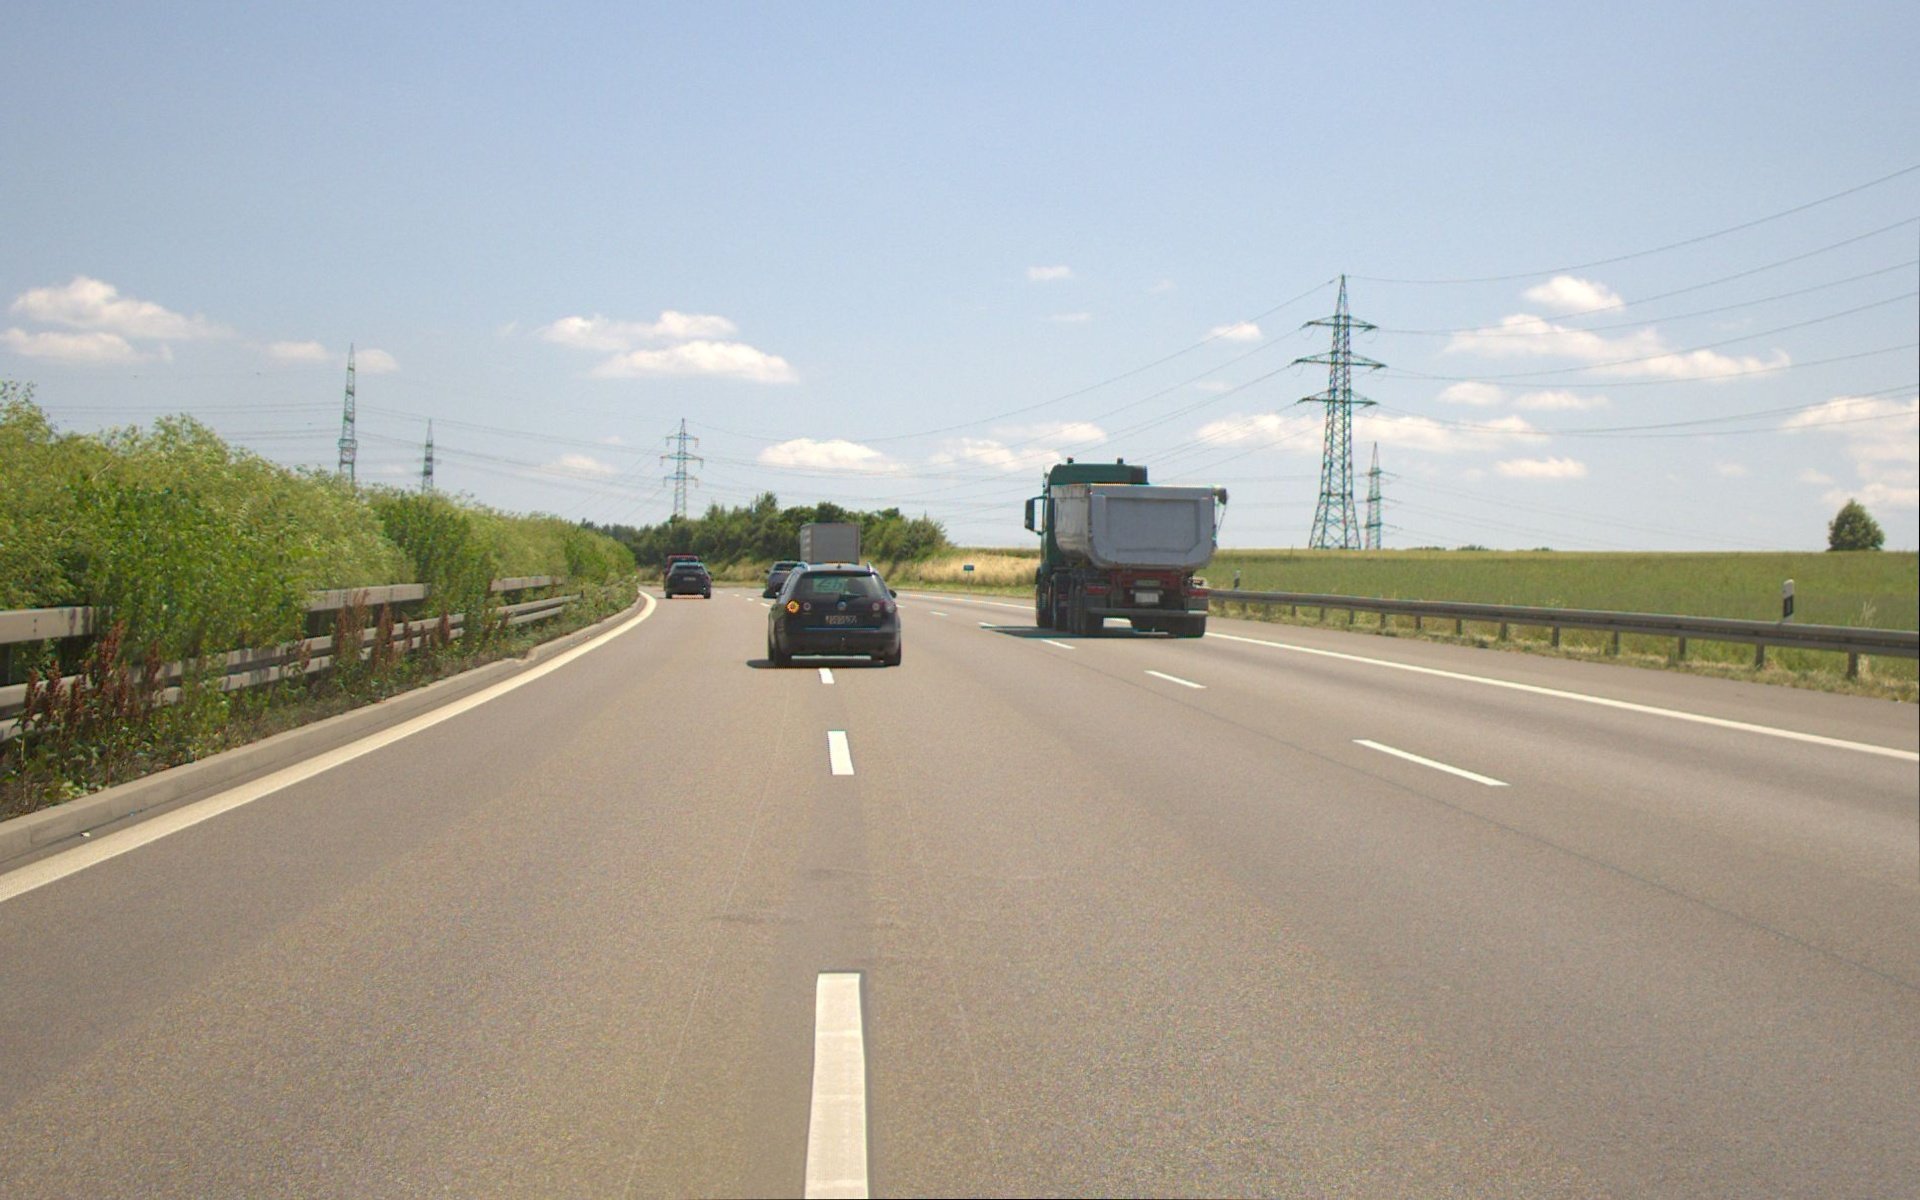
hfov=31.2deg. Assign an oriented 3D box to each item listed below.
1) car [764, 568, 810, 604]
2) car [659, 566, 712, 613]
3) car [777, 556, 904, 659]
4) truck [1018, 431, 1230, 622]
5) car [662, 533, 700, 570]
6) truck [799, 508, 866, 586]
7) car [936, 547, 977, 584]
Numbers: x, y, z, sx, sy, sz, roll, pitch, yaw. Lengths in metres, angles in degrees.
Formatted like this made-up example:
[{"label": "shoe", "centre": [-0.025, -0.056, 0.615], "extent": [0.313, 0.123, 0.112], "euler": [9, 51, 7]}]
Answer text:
[{"label": "car", "centre": [-7.437, -0.623, 147.627], "extent": [1.838, 1.535, 3.915], "euler": [0, 1, -5]}, {"label": "car", "centre": [-11.030, -0.425, 138.123], "extent": [1.993, 1.853, 4.000], "euler": [0, 1, -3]}, {"label": "car", "centre": [-1.722, 0.082, 49.628], "extent": [1.756, 1.424, 4.000], "euler": [0, 1, -2]}, {"label": "truck", "centre": [3.310, -1.503, 73.407], "extent": [2.865, 3.711, 12.765], "euler": [0, 1, -5]}, {"label": "car", "centre": [-14.378, -2.486, 177.146], "extent": [1.901, 1.919, 4.001], "euler": [0, 1, -5]}, {"label": "truck", "centre": [-6.768, -2.750, 180.766], "extent": [3.220, 3.911, 9.061], "euler": [0, 0, -4]}, {"label": "car", "centre": [-0.177, -1.773, 176.823], "extent": [1.993, 1.846, 4.000], "euler": [0, 1, -2]}]
